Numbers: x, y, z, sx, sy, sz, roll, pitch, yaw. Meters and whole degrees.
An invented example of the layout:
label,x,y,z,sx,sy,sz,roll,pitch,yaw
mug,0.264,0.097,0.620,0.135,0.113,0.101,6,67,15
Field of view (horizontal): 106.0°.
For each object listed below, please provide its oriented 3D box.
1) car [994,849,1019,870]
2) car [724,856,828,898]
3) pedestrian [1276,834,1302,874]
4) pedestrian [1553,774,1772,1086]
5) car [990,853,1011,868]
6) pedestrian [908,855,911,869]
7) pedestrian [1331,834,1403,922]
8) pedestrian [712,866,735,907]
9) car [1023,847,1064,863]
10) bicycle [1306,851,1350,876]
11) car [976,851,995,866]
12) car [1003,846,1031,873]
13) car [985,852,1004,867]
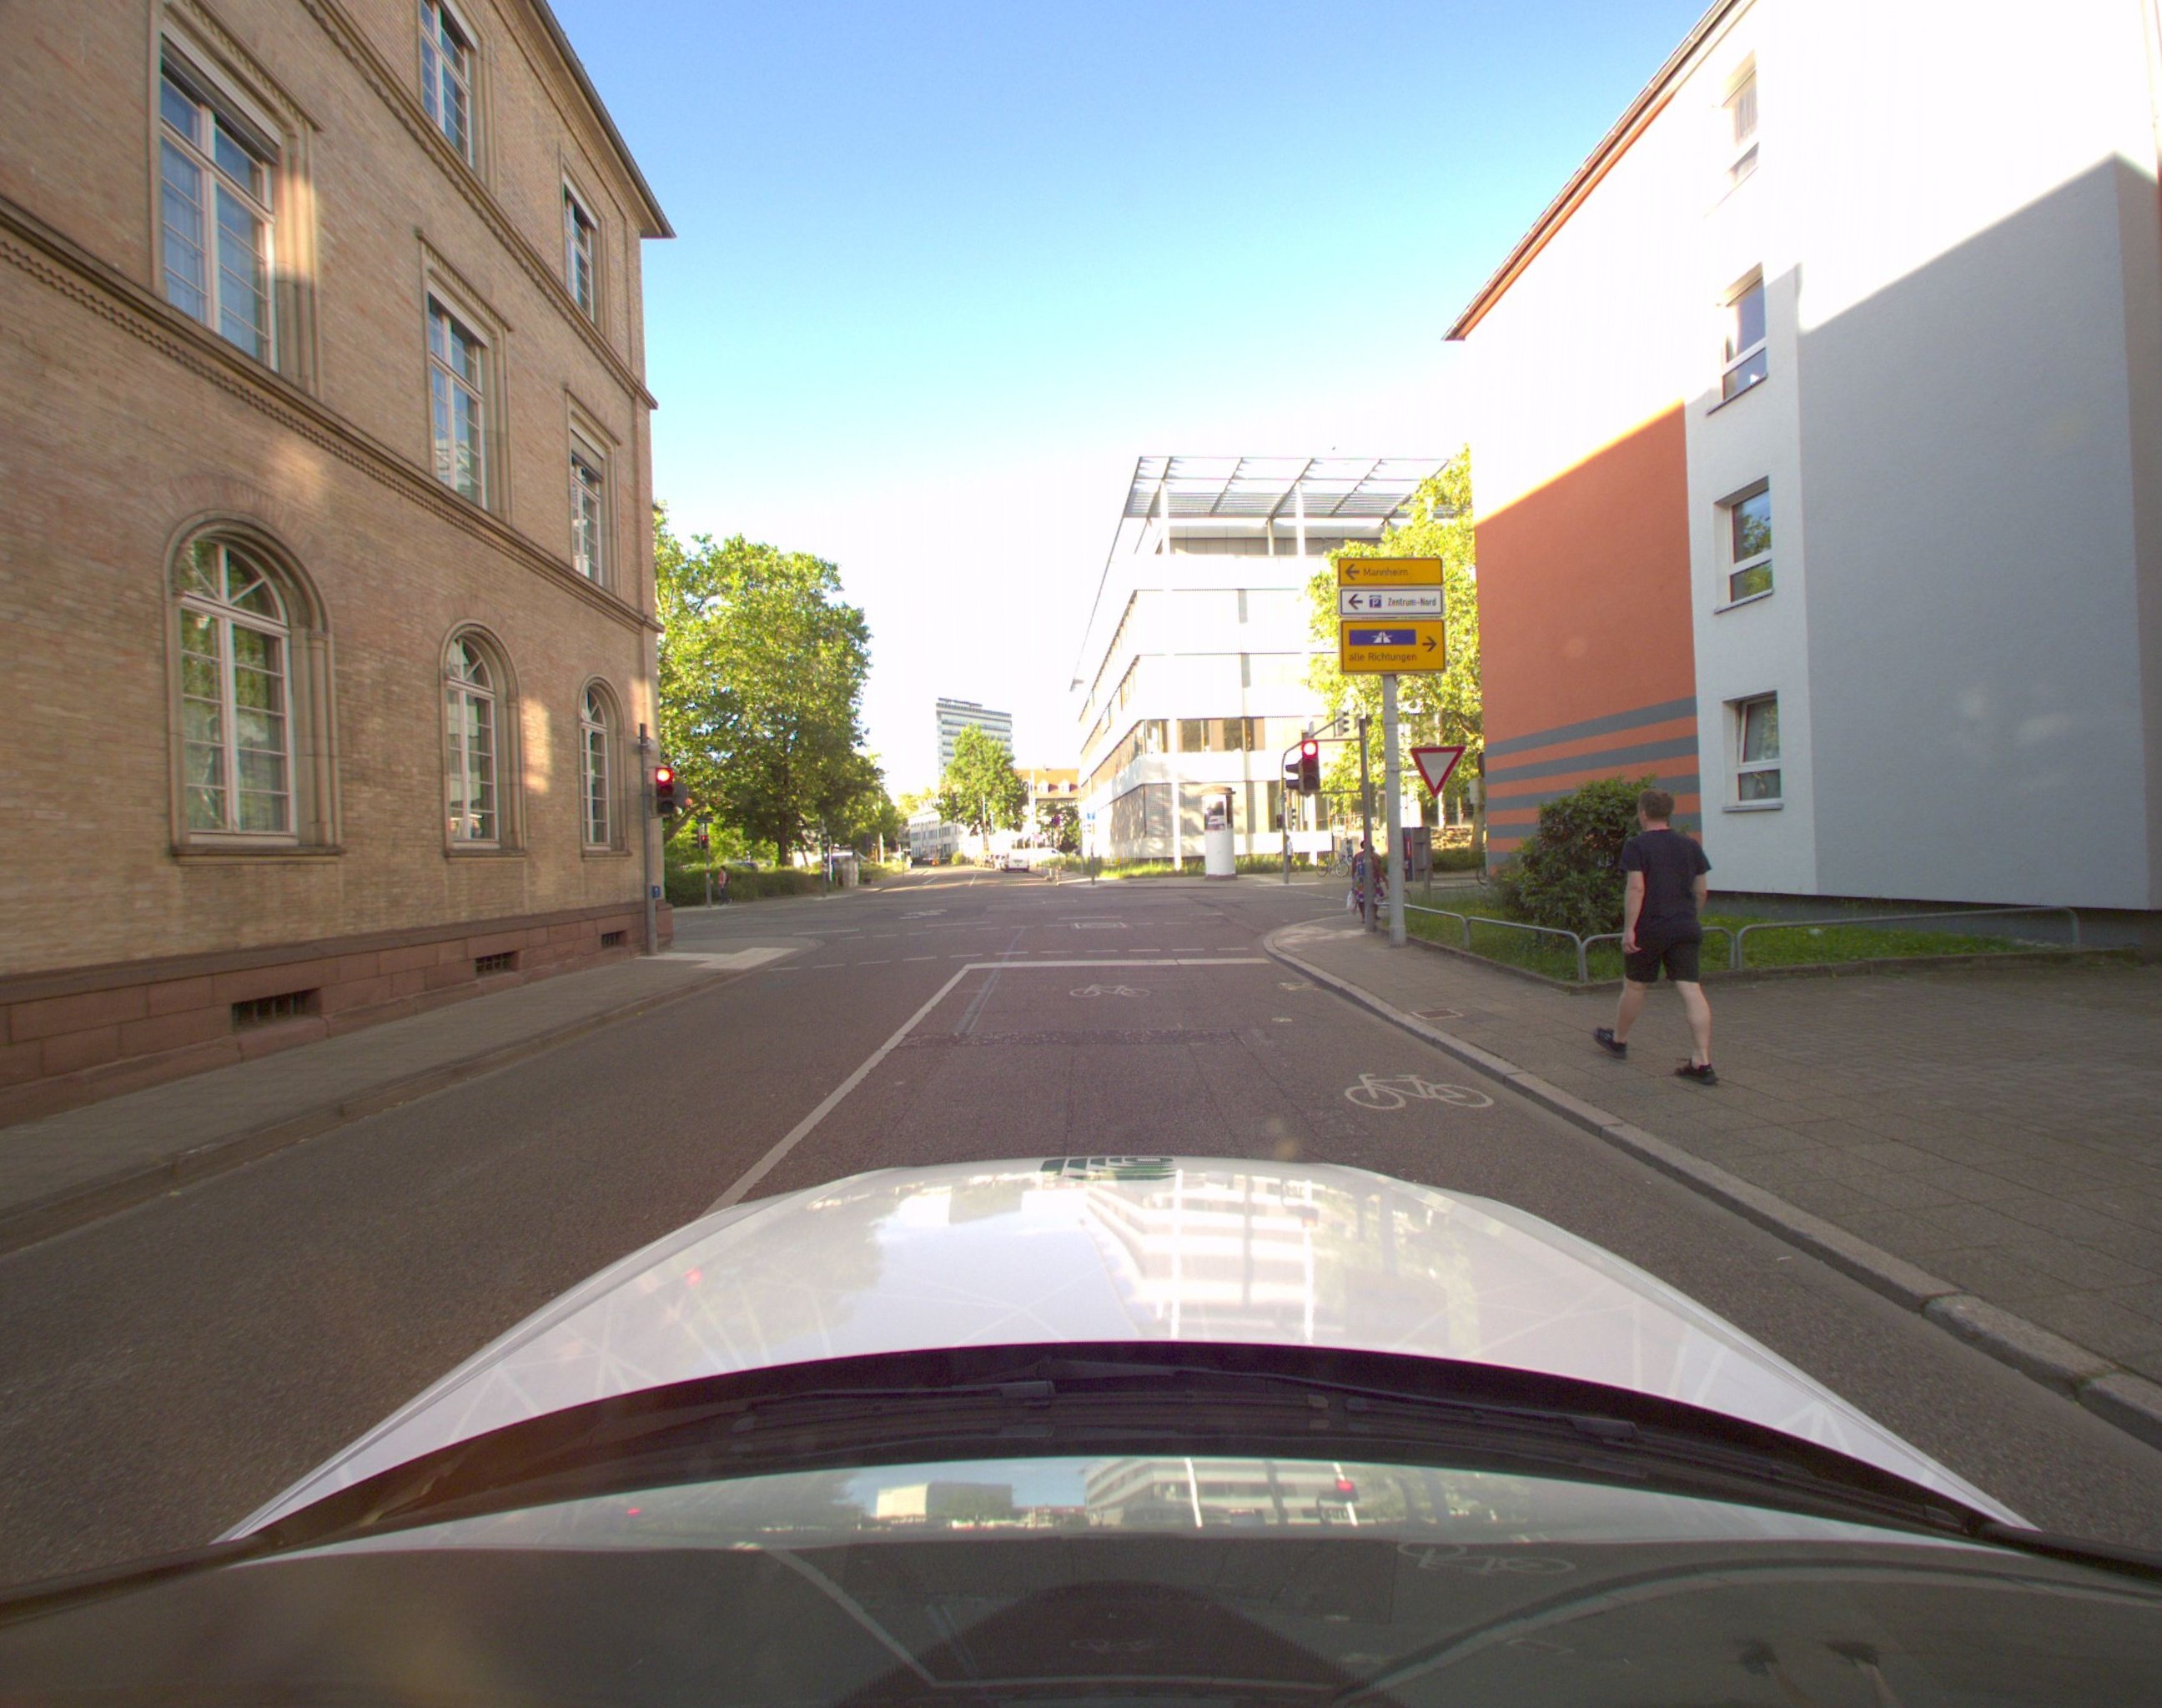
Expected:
label,x,y,z,sx,sy,sz,roll,pitch,yaw
car,-7.097,0.495,76.904,1.947,1.795,4.223,-2,0,-11
car,-14.401,1.071,38.634,4.219,1.777,1.901,-2,0,-7
pedestrian,9.735,-0.009,38.123,1.028,1.831,0.542,-2,0,25
pedestrian,3.694,0.448,5.261,0.641,1.788,0.917,-5,0,4
car,-8.121,0.631,81.812,1.705,1.424,4.221,-2,0,-11
pedestrian,-20.270,0.941,96.253,0.380,1.534,0.444,-2,0,-10
pedestrian,5.430,0.461,15.465,0.945,1.573,0.755,-5,0,40
pedestrian,-14.498,1.309,33.021,0.717,1.599,0.610,-2,0,-36
car,-4.752,0.104,103.099,4.889,1.872,1.990,-1,-1,-15
bicycle,10.901,0.444,35.990,0.467,1.049,1.893,-2,0,-40
car,-11.305,0.512,96.120,2.100,1.658,4.461,-2,0,-9
car,-5.128,0.417,64.930,2.065,1.963,4.228,-2,0,-7
car,-9.198,0.529,86.239,1.704,1.464,4.225,-2,0,-9
